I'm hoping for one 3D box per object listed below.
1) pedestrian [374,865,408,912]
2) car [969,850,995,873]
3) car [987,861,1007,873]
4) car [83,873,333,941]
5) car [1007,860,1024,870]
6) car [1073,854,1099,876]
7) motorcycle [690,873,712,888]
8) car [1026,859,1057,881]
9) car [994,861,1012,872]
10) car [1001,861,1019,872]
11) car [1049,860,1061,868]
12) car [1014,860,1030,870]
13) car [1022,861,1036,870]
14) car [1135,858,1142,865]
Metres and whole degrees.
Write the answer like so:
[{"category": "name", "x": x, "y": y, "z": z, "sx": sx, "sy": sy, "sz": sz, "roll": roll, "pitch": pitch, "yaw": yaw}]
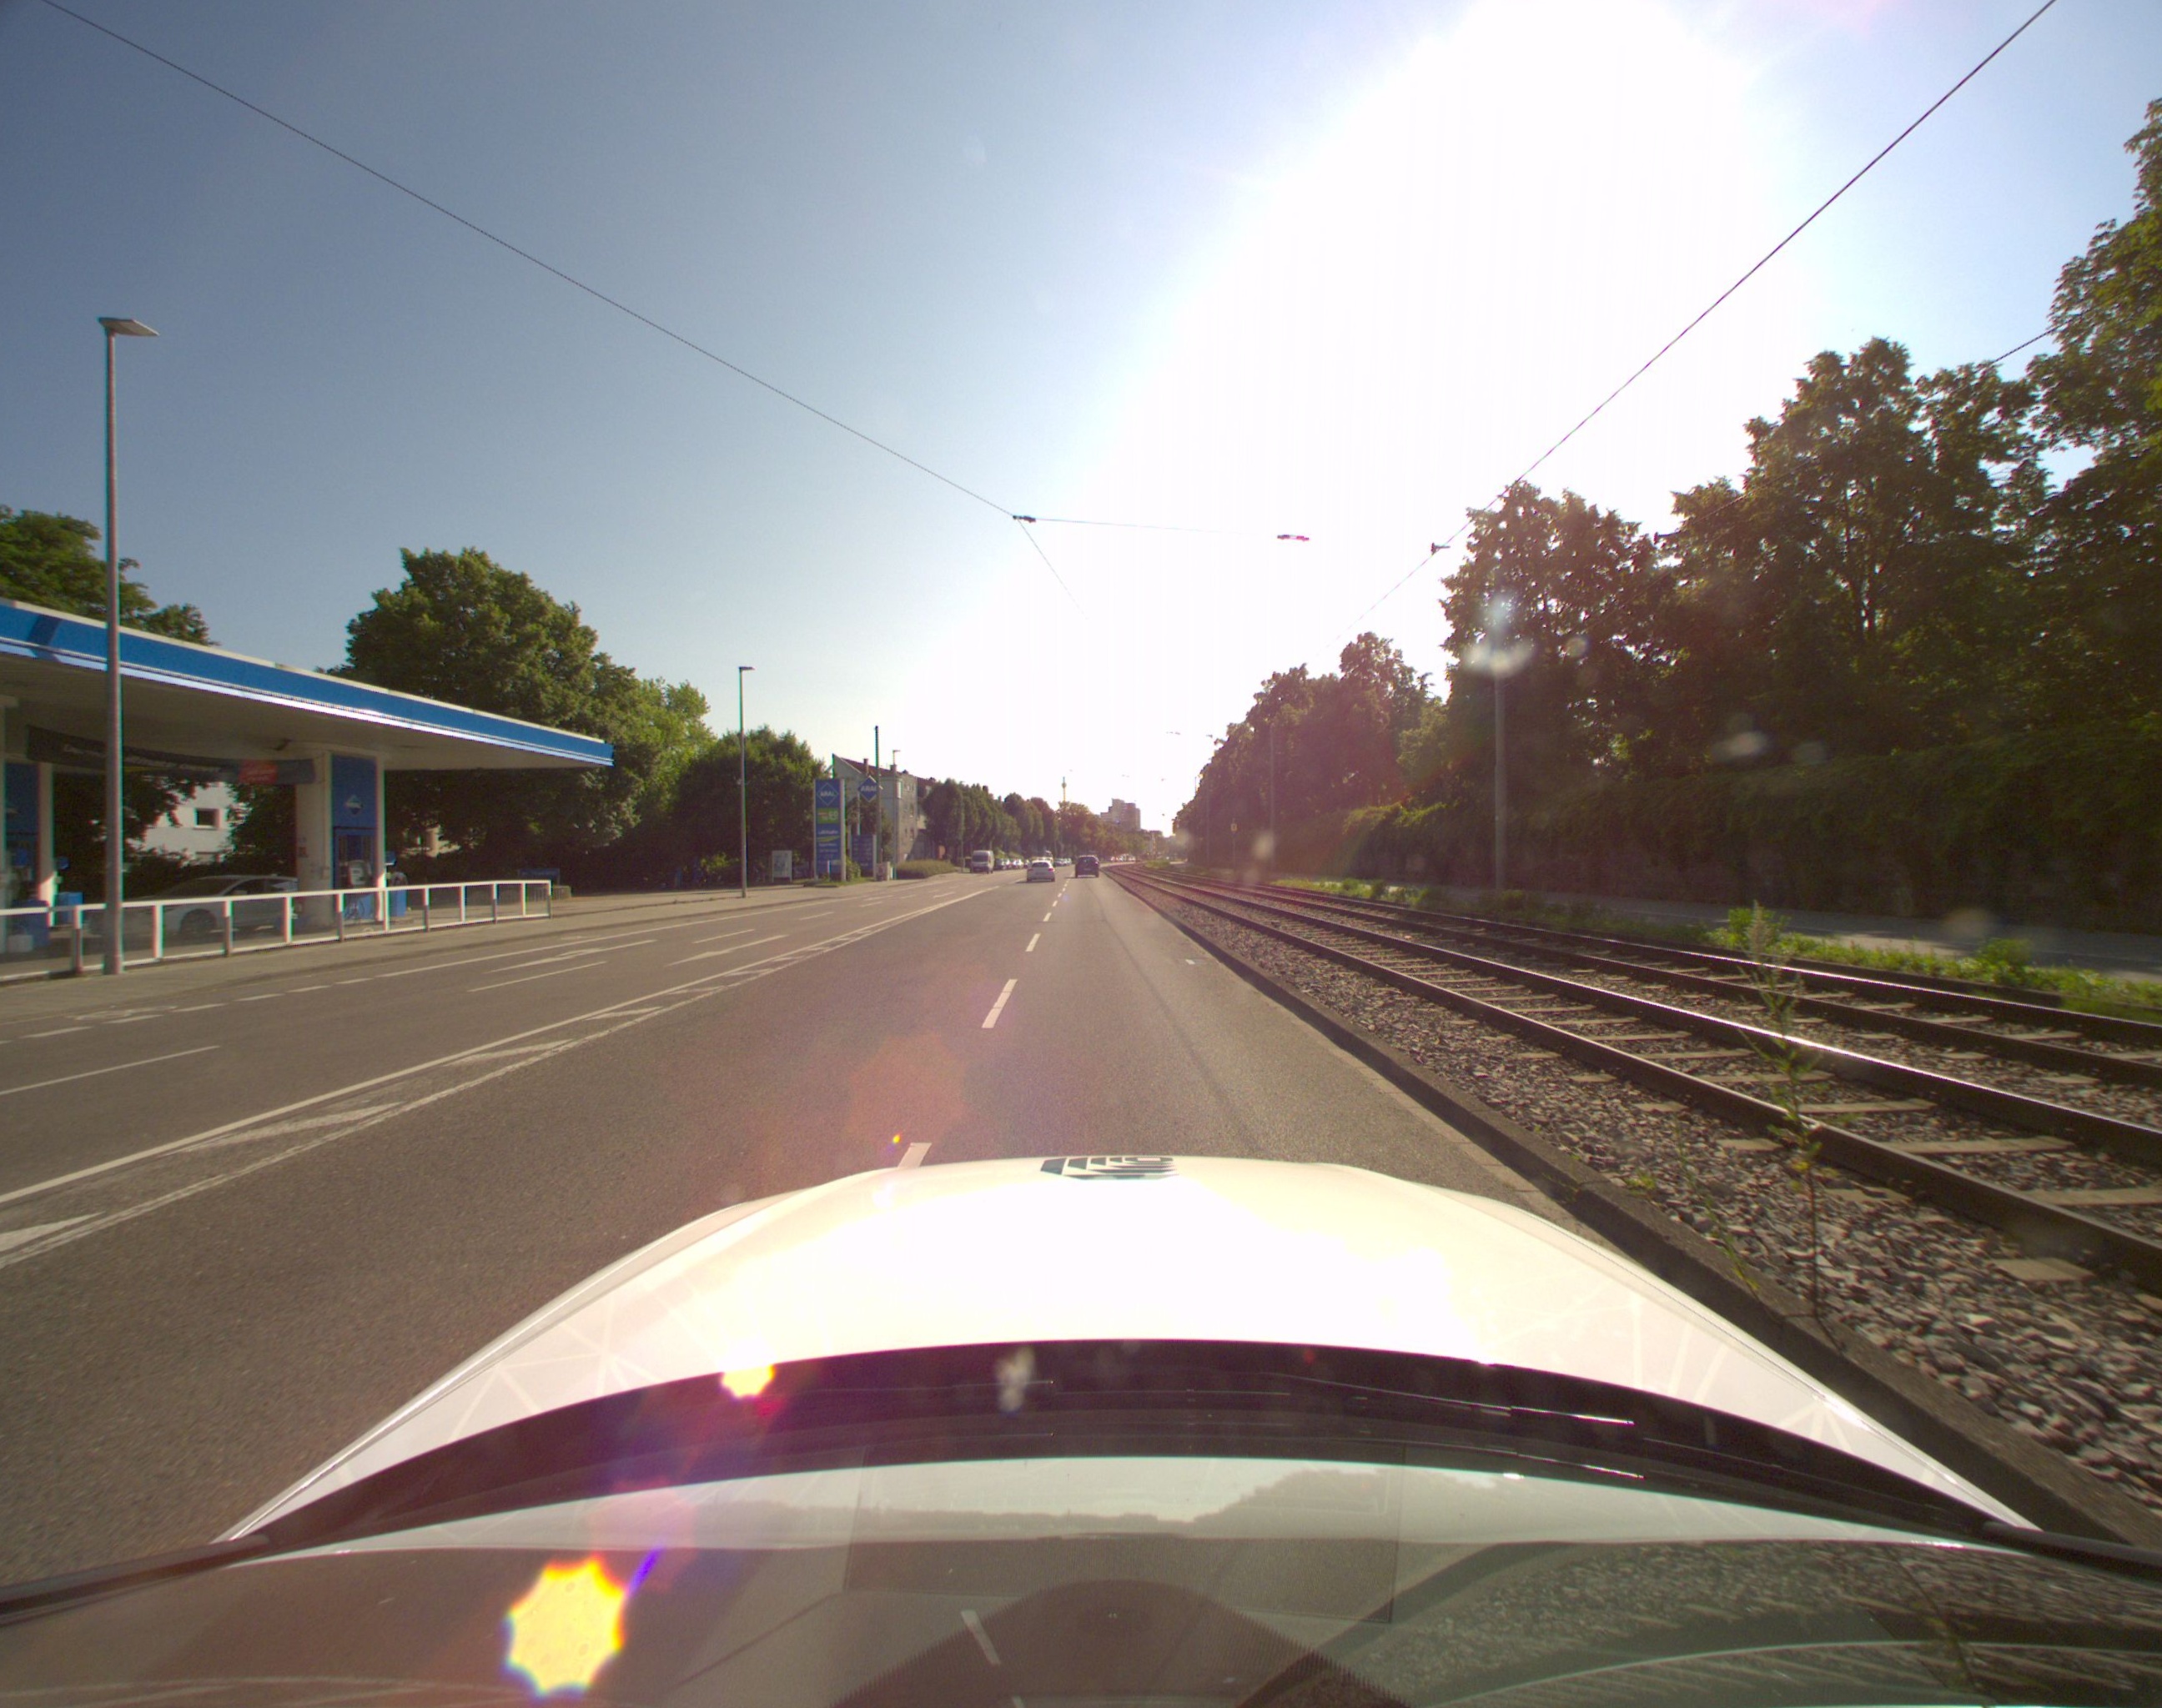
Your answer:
[{"category": "pedestrian", "x": -26.522, "y": 1.311, "z": 31.320, "sx": 0.662, "sy": 1.728, "sz": 0.846, "roll": -1, "pitch": -1, "yaw": -12}, {"category": "car", "x": -10.815, "y": 0.767, "z": 88.833, "sx": 1.985, "sy": 2.376, "sz": 4.542, "roll": -1, "pitch": 0, "yaw": 3}, {"category": "car", "x": -10.777, "y": 1.611, "z": 104.267, "sx": 1.986, "sy": 1.416, "sz": 3.846, "roll": -1, "pitch": 0, "yaw": 2}, {"category": "car", "x": -21.207, "y": 1.213, "z": 20.078, "sx": 1.739, "sy": 1.393, "sz": 4.119, "roll": -1, "pitch": 0, "yaw": -1}, {"category": "car", "x": -9.746, "y": 1.680, "z": 121.194, "sx": 1.986, "sy": 1.416, "sz": 3.846, "roll": -1, "pitch": 0, "yaw": 2}, {"category": "car", "x": 0.366, "y": 0.844, "z": 61.527, "sx": 1.721, "sy": 1.593, "sz": 3.596, "roll": 1, "pitch": 0, "yaw": -4}, {"category": "motorcycle", "x": -24.770, "y": 1.736, "z": 53.121, "sx": 0.669, "sy": 0.901, "sz": 1.671, "roll": -1, "pitch": 0, "yaw": 1}, {"category": "car", "x": -2.516, "y": 1.018, "z": 52.422, "sx": 1.775, "sy": 1.356, "sz": 3.600, "roll": 1, "pitch": 0, "yaw": 0}, {"category": "car", "x": -10.536, "y": 1.695, "z": 110.195, "sx": 1.986, "sy": 1.416, "sz": 3.846, "roll": -1, "pitch": 0, "yaw": 2}, {"category": "car", "x": -10.054, "y": 1.771, "z": 116.008, "sx": 1.986, "sy": 1.416, "sz": 3.846, "roll": -1, "pitch": 0, "yaw": 2}, {"category": "car", "x": -5.089, "y": 1.932, "z": 160.012, "sx": 1.986, "sy": 1.416, "sz": 3.846, "roll": -1, "pitch": 0, "yaw": 2}, {"category": "car", "x": -9.215, "y": 1.734, "z": 127.426, "sx": 1.986, "sy": 1.416, "sz": 3.846, "roll": -1, "pitch": 0, "yaw": 2}, {"category": "car", "x": -8.805, "y": 1.967, "z": 138.664, "sx": 1.986, "sy": 1.416, "sz": 3.846, "roll": -1, "pitch": 0, "yaw": 2}, {"category": "car", "x": 14.964, "y": 1.932, "z": 213.212, "sx": 1.715, "sy": 1.593, "sz": 3.607, "roll": 1, "pitch": 0, "yaw": 6}]
